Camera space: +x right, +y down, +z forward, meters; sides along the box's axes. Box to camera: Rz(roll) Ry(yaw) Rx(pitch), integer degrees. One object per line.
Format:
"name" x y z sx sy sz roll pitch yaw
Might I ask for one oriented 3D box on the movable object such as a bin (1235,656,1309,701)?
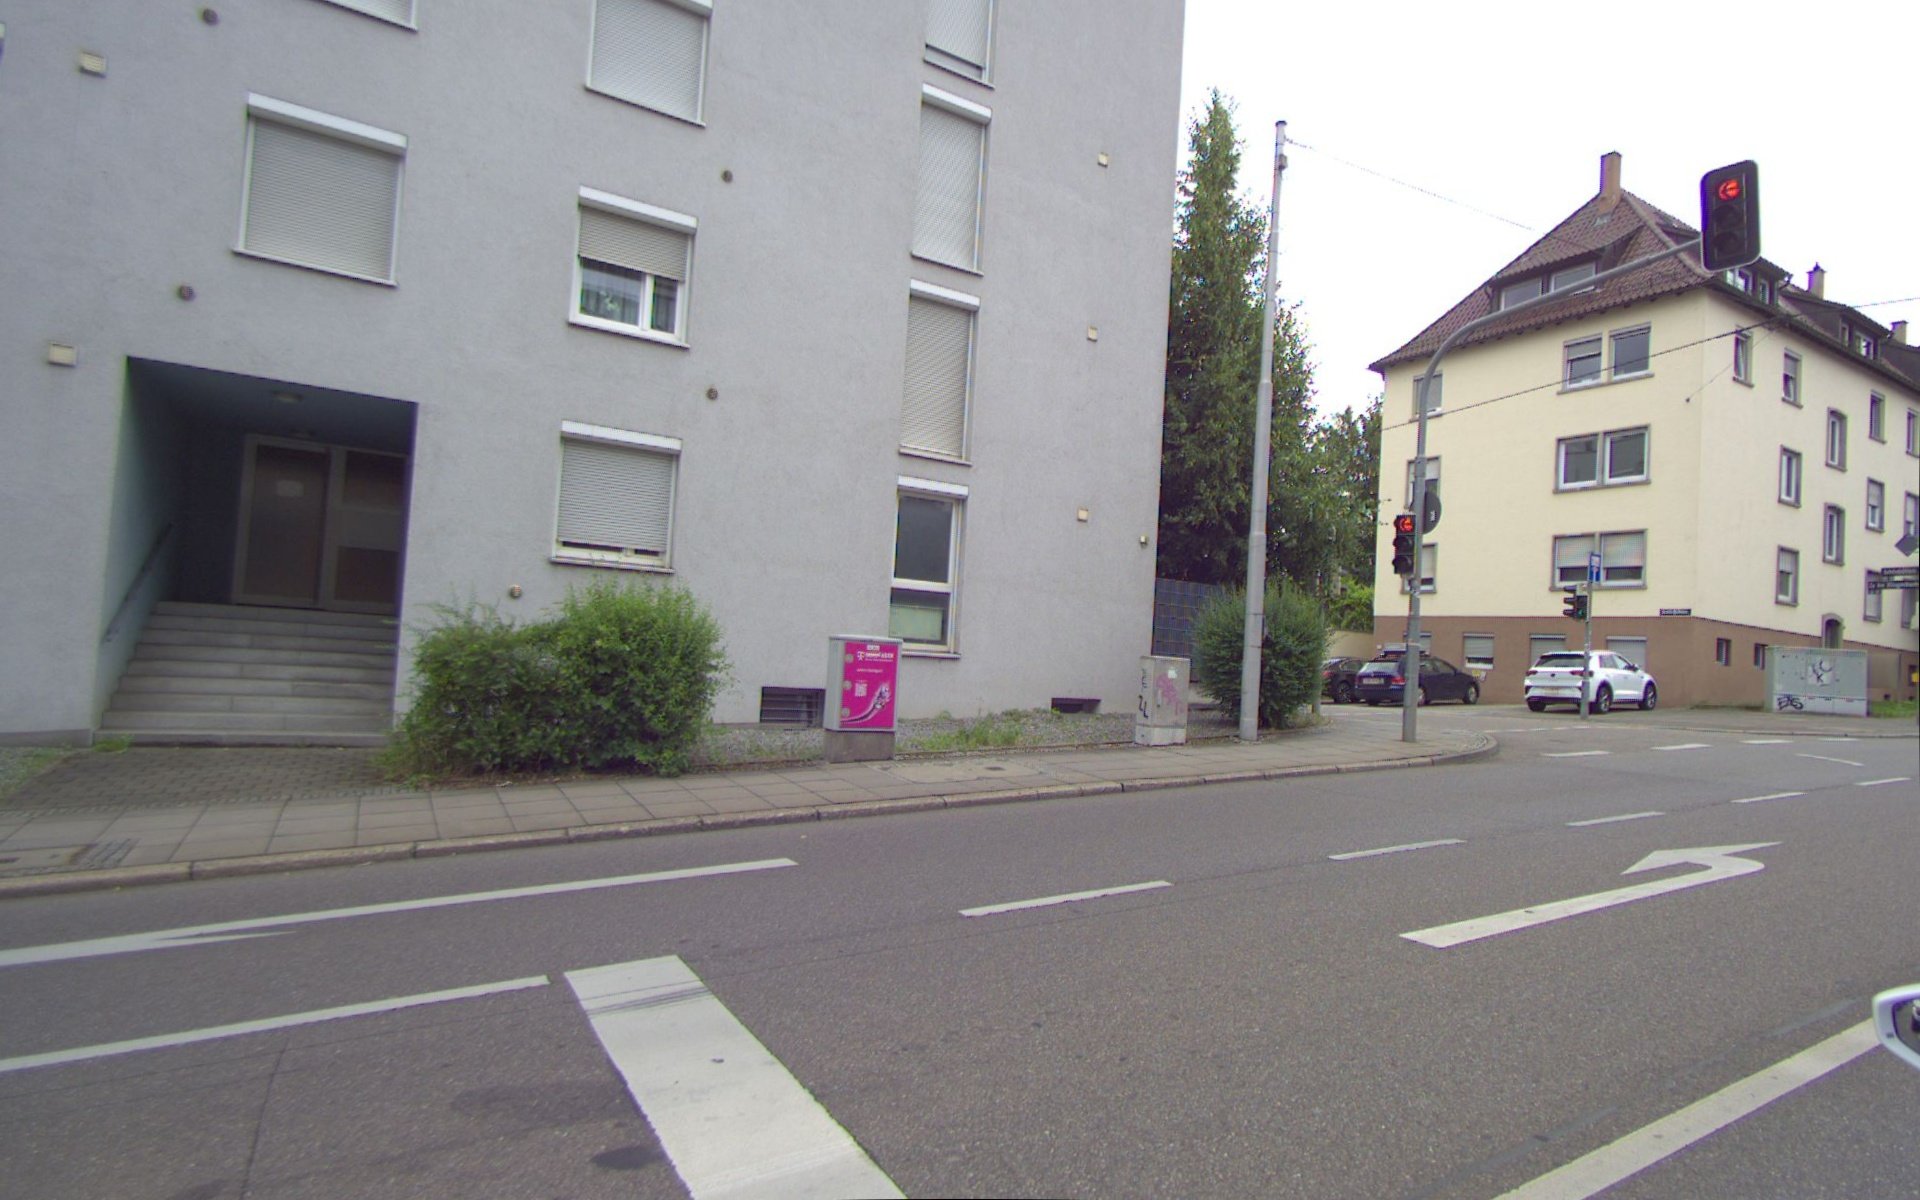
"movable object such as a bin" 10.948 2.720 35.249 2.128 1.448 1.413 2 0 -30

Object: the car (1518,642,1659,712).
"car" 16.367 1.967 26.104 3.960 1.683 1.660 2 -4 -35

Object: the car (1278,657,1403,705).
"car" 12.234 2.572 32.266 3.953 1.380 1.662 2 -1 -30

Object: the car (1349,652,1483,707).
"car" 13.786 2.376 30.336 4.053 1.566 1.662 2 -4 -30
